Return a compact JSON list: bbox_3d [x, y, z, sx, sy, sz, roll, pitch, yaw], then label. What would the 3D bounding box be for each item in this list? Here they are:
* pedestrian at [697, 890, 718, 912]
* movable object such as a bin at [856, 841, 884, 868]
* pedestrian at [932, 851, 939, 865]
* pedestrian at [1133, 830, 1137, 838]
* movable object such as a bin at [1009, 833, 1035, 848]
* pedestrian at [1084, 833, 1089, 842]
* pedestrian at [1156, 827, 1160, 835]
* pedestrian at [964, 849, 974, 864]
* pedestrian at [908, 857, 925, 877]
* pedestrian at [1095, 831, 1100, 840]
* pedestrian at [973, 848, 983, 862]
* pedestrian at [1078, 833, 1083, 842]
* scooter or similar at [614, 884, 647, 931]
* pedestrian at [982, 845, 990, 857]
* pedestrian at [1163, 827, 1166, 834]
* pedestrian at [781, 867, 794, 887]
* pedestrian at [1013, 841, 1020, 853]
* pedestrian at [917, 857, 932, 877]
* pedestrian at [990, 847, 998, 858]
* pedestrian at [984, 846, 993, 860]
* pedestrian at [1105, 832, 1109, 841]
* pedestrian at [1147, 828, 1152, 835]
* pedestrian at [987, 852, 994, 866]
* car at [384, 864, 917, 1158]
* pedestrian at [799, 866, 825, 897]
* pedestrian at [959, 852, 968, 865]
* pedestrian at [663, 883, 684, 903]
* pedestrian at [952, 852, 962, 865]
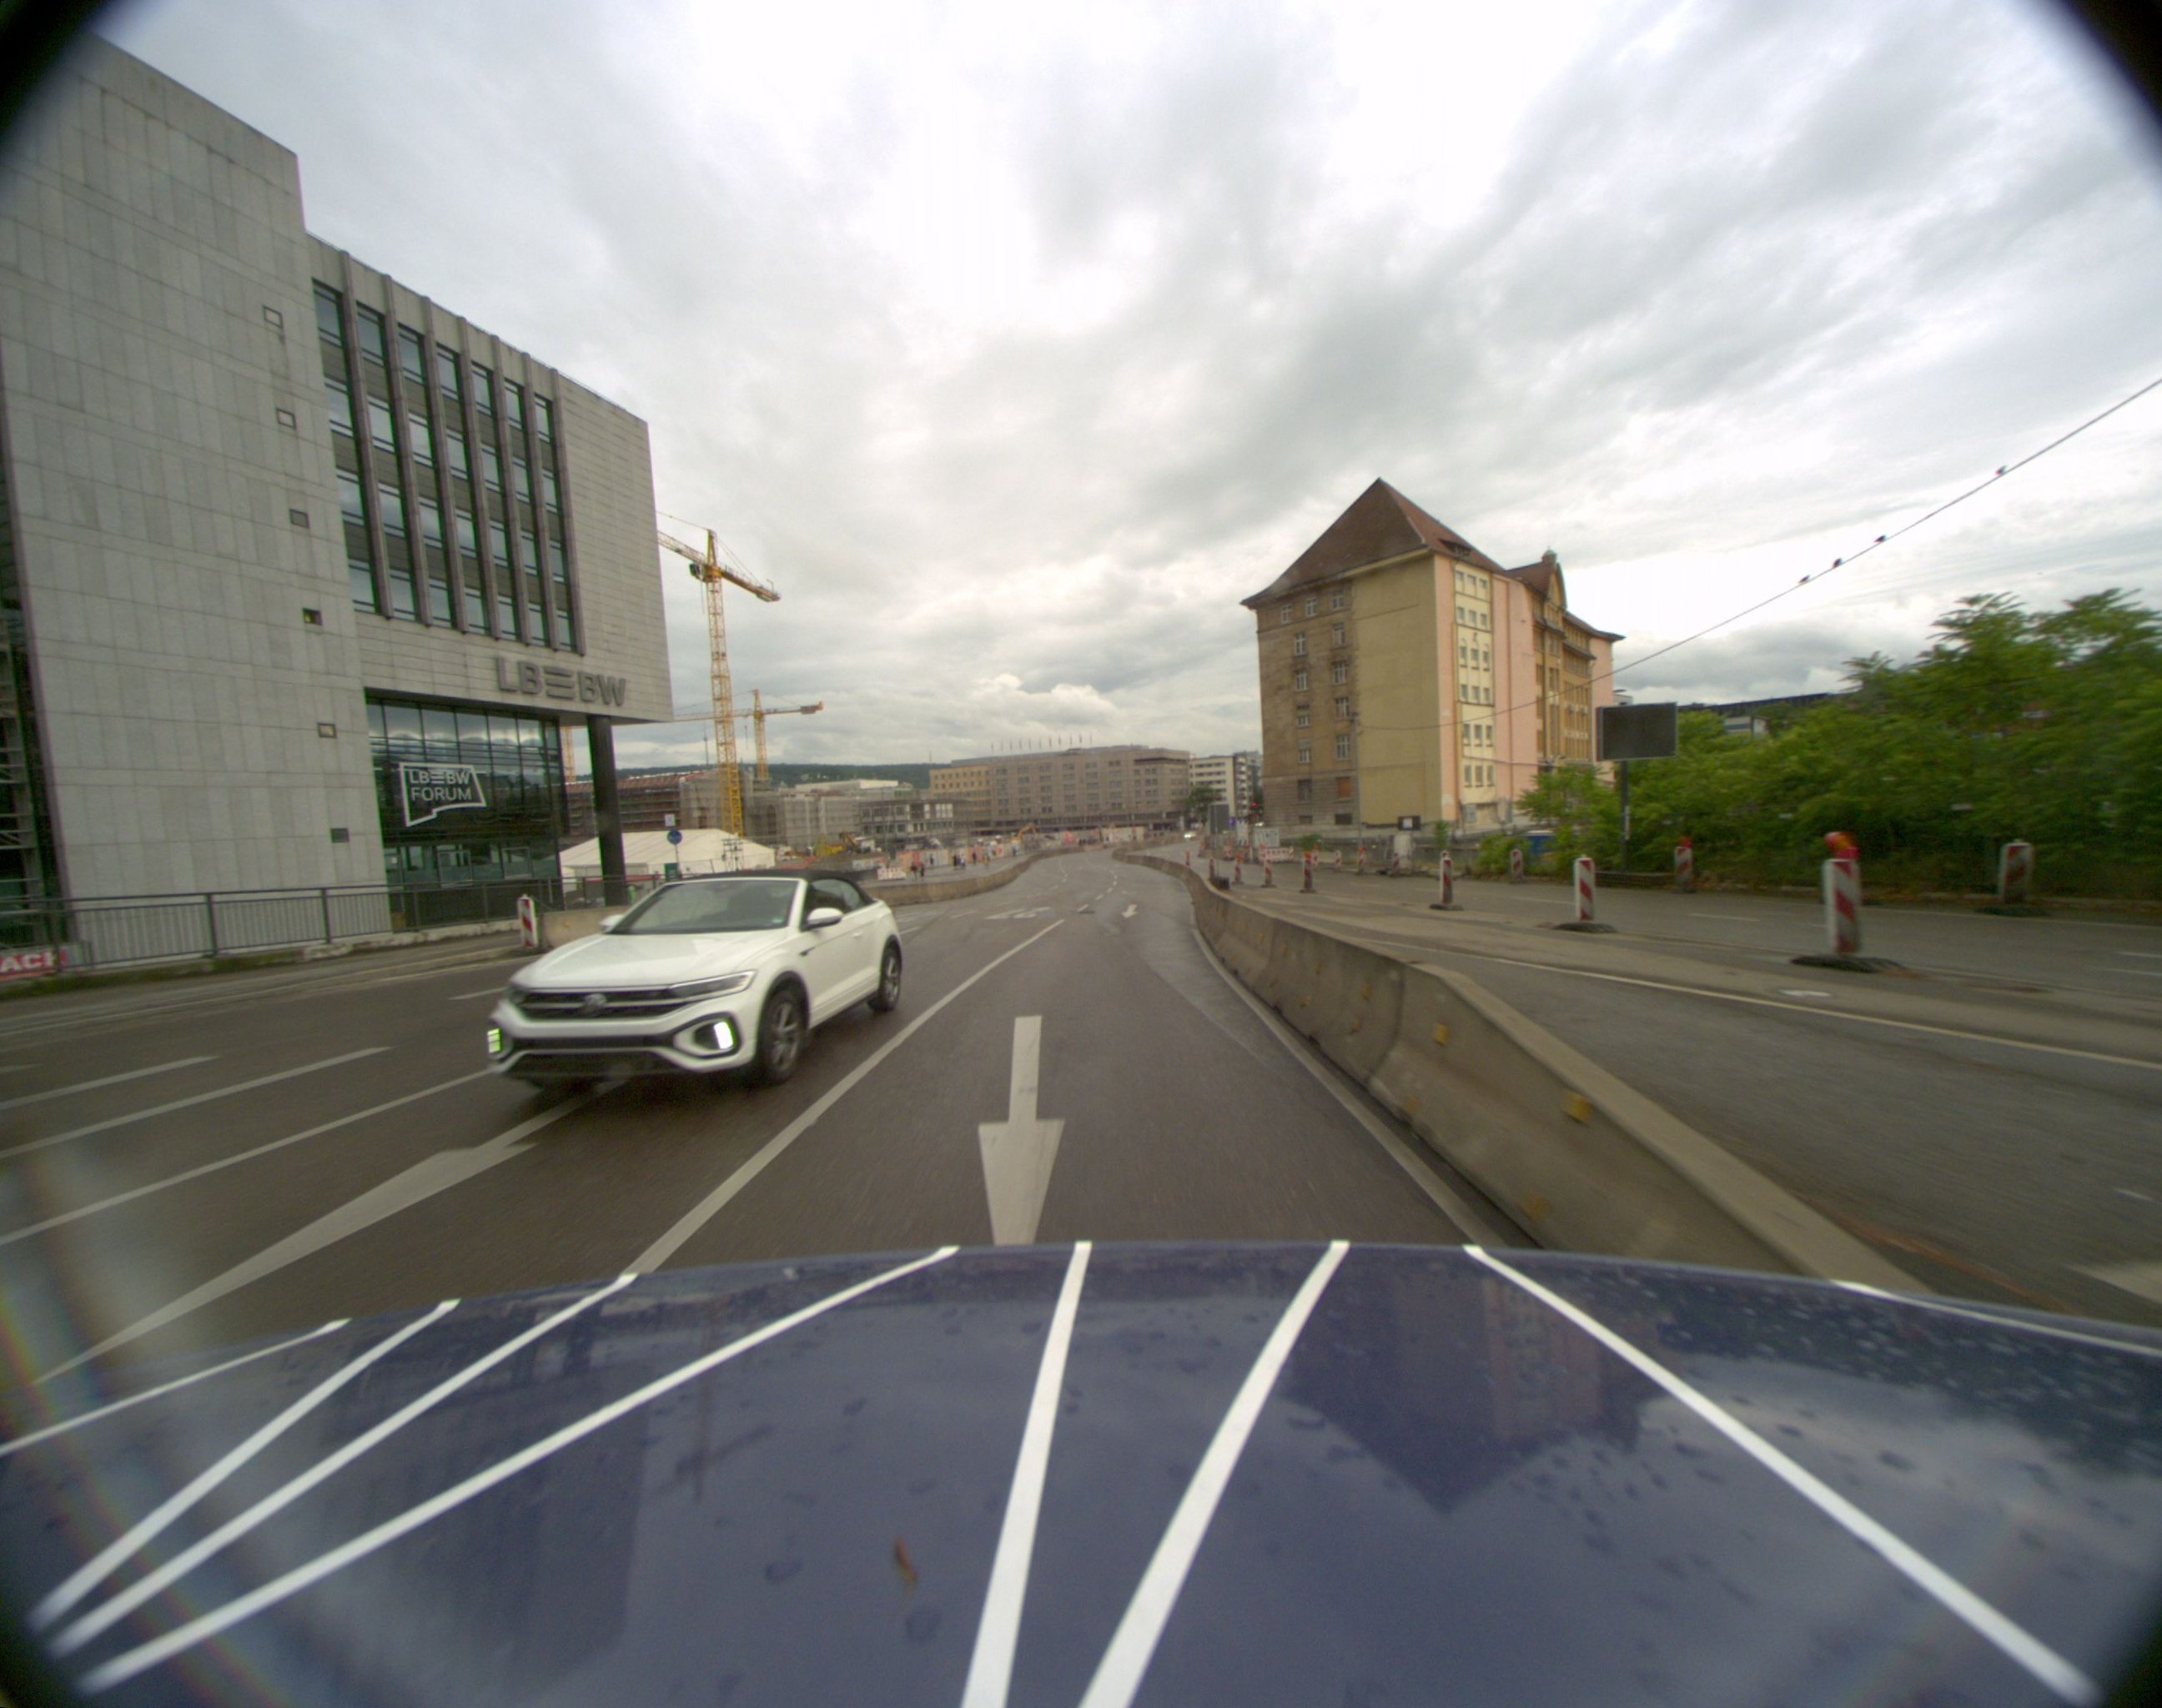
[{"bbox_3d":[-29.362,3.691,59.708,0.867,1.628,1.009,-1,4,27],"label":"pedestrian"},{"bbox_3d":[-28.238,0.012,101.714,1.941,3.391,4.230,-3,3,5],"label":"movable object such as a bin"},{"bbox_3d":[-18.006,0.470,94.315,0.567,1.739,0.495,-2,3,16],"label":"pedestrian"},{"bbox_3d":[11.790,-4.429,165.770,0.648,1.660,0.766,-1,4,10],"label":"pedestrian"},{"bbox_3d":[-10.809,-2.456,138.610,4.135,2.522,1.994,-5,4,-37],"label":"movable object such as a bin"},{"bbox_3d":[1.017,-3.104,141.917,0.648,1.637,0.947,-1,4,12],"label":"pedestrian"},{"bbox_3d":[18.354,-5.515,181.479,0.756,1.752,0.766,-1,4,10],"label":"pedestrian"},{"bbox_3d":[-13.450,0.321,91.662,0.778,1.713,0.892,-2,3,17],"label":"pedestrian"},{"bbox_3d":[-13.721,1.097,63.255,0.861,1.585,0.953,-2,4,26],"label":"pedestrian"},{"bbox_3d":[3.109,-3.452,144.892,0.654,1.682,0.776,0,4,22],"label":"pedestrian"},{"bbox_3d":[-13.479,0.100,99.362,0.867,1.808,1.009,-2,3,17],"label":"pedestrian"},{"bbox_3d":[-0.108,-3.072,141.946,0.648,1.734,0.766,-1,4,12],"label":"pedestrian"},{"bbox_3d":[-11.495,1.360,19.403,0.349,1.156,0.573,-2,2,13],"label":"scooter or similar"},{"bbox_3d":[-13.222,-0.404,106.097,0.647,1.646,0.767,-1,4,34],"label":"pedestrian"},{"bbox_3d":[20.659,-5.854,188.739,0.653,1.752,0.548,-1,4,9],"label":"pedestrian"},{"bbox_3d":[-24.343,1.883,62.973,0.753,1.628,0.586,-6,5,-43],"label":"pedestrian"},{"bbox_3d":[-9.743,-1.020,114.703,0.746,1.697,0.687,-1,4,12],"label":"pedestrian"},{"bbox_3d":[-12.968,1.072,62.931,0.732,1.566,0.806,-2,3,26],"label":"pedestrian"},{"bbox_3d":[-12.139,-0.228,106.143,0.647,1.545,0.767,-1,4,34],"label":"pedestrian"},{"bbox_3d":[-12.687,-0.171,104.166,0.818,1.839,0.933,-1,4,34],"label":"pedestrian"},{"bbox_3d":[5.180,-3.543,152.677,0.585,1.699,0.677,-1,4,10],"label":"pedestrian"},{"bbox_3d":[16.287,-5.346,180.497,1.097,1.752,0.907,0,4,25],"label":"pedestrian"},{"bbox_3d":[-10.831,0.595,91.397,0.649,1.624,0.907,-3,3,-2],"label":"pedestrian"},{"bbox_3d":[-2.980,0.960,6.549,1.968,1.540,4.219,-3,1,3],"label":"car"},{"bbox_3d":[-14.864,1.499,42.003,0.730,1.643,1.062,-2,2,26],"label":"pedestrian"},{"bbox_3d":[-14.166,0.513,91.406,0.609,1.514,0.886,-2,3,17],"label":"pedestrian"},{"bbox_3d":[-32.195,3.079,60.047,0.867,1.545,1.009,-1,4,27],"label":"pedestrian"},{"bbox_3d":[-14.916,0.535,91.516,0.715,1.545,1.009,-2,3,17],"label":"pedestrian"}]
